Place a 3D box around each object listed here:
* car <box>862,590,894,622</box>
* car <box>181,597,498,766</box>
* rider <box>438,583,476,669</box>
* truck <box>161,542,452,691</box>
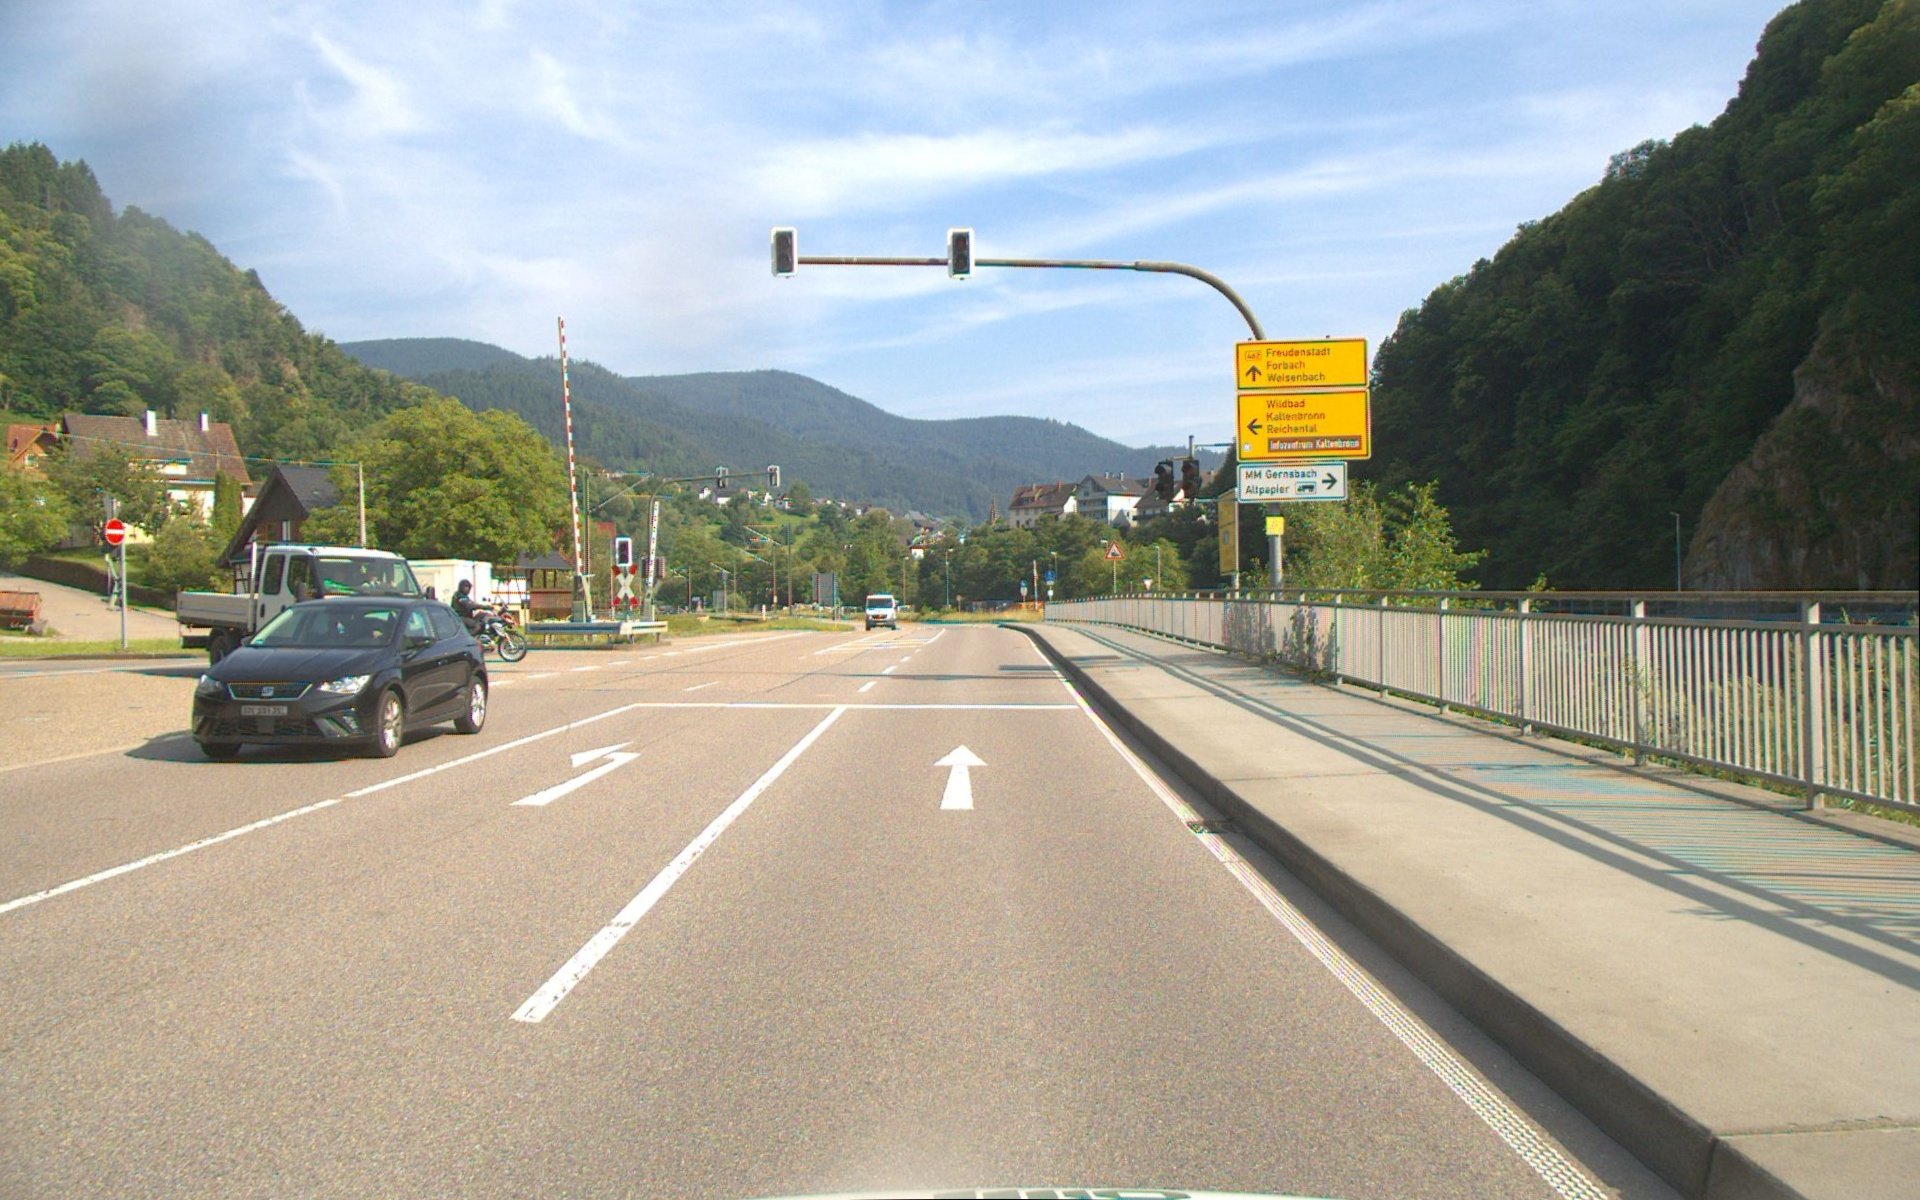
[{"bbox_3d":[-5.389,0.401,109.348,1.953,2.049,4.556,0,0,-1],"label":"car"},{"bbox_3d":[-5.923,0.709,16.284,1.737,1.441,3.784,0,0,-1],"label":"car"},{"bbox_3d":[-10.949,0.560,36.040,0.740,1.851,0.740,1,1,-16],"label":"rider"},{"bbox_3d":[-11.227,0.239,28.184,5.889,2.306,1.991,0,1,39],"label":"truck"}]
